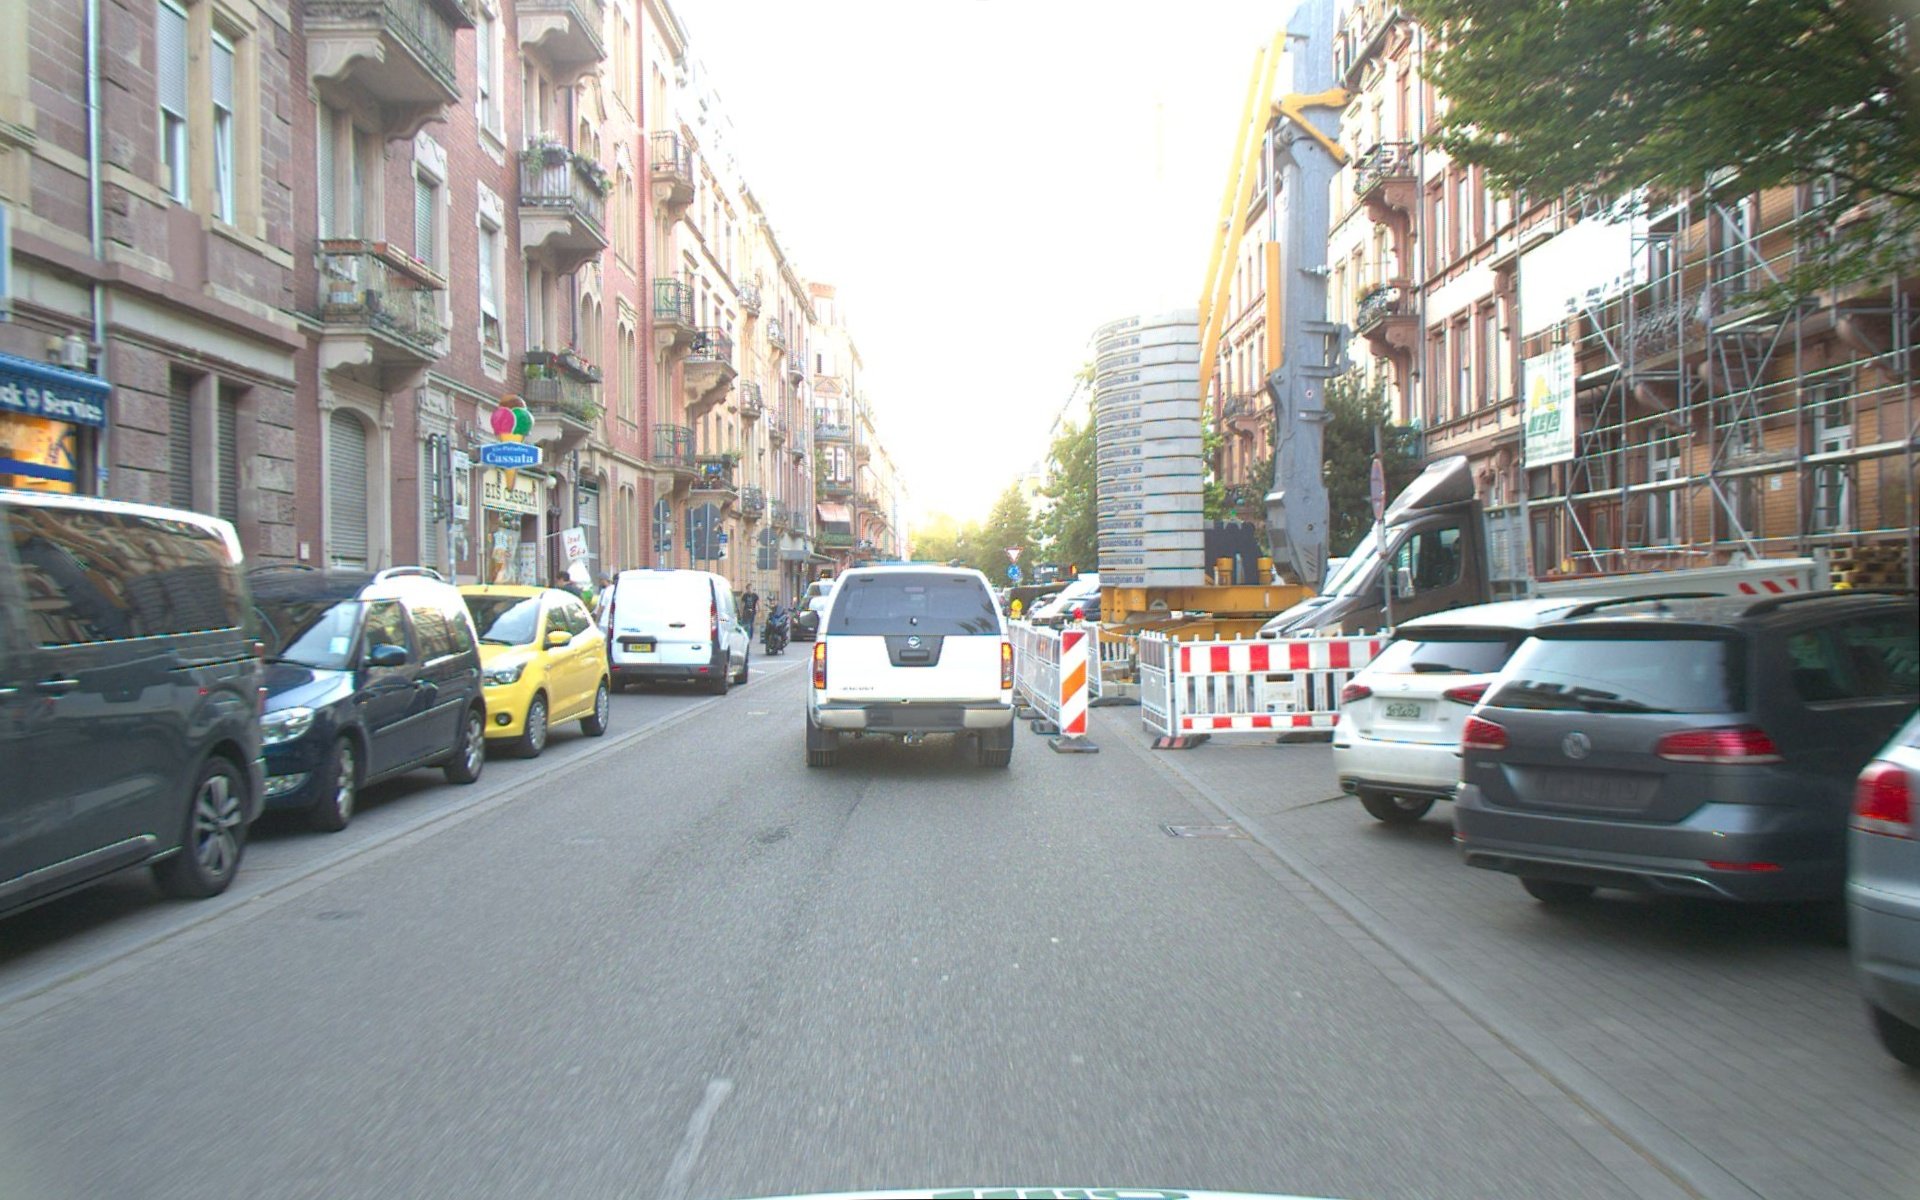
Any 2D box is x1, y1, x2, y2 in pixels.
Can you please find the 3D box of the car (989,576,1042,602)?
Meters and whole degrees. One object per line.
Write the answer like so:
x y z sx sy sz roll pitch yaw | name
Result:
4.761 -0.929 141.982 4.492 2.215 1.820 0 0 2 | car

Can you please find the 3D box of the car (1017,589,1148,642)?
3.889 0.474 52.856 4.108 1.650 1.820 0 0 2 | car

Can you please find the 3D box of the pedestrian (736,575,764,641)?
-6.612 0.242 52.108 0.772 2.049 0.934 0 0 -1 | pedestrian

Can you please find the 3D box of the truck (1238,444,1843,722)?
6.501 -0.147 19.176 6.190 3.029 2.264 0 -3 1 | truck

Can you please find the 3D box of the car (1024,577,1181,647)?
3.786 0.312 44.382 4.108 1.811 1.820 0 0 2 | car

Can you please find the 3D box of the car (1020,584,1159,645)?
3.882 0.420 50.003 4.108 1.811 1.820 0 0 2 | car

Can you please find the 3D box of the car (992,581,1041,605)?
5.291 -0.667 154.724 4.492 2.215 1.820 0 0 2 | car

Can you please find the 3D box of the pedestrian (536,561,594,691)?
-5.883 0.381 24.629 0.723 1.902 0.618 0 0 -2 | pedestrian

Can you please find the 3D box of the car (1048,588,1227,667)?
4.185 0.638 39.074 4.106 1.811 1.821 0 0 5 | car

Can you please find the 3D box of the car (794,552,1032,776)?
-0.612 0.516 15.907 1.896 1.826 4.615 0 0 -7 | car

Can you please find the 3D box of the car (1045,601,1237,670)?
3.986 0.764 36.570 4.106 1.454 1.821 0 0 5 | car

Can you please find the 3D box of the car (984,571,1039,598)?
4.280 -1.281 136.971 4.492 2.215 1.820 0 0 2 | car

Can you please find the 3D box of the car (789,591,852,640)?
-4.576 0.484 54.753 1.755 1.557 4.000 0 0 0 | car

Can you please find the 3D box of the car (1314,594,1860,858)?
4.189 0.706 10.939 3.513 1.490 1.594 0 0 -32 | car

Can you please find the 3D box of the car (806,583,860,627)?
-4.596 0.177 60.432 1.675 1.557 4.000 0 0 0 | car

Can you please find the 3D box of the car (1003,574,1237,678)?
2.904 0.449 30.080 4.106 1.811 1.821 0 0 5 | car

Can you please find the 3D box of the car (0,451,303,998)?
-4.373 0.444 6.136 1.865 1.959 4.947 0 0 0 | car

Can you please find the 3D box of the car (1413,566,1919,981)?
4.020 0.646 8.083 3.857 1.557 1.614 0 0 -40 | car

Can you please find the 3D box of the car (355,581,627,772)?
-4.422 0.650 16.150 1.468 1.621 3.857 -1 0 1 | car

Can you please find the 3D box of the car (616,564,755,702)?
-4.195 0.469 25.754 1.527 1.955 3.855 1 0 -1 | car

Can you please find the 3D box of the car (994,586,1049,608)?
4.690 -0.253 125.224 4.108 1.650 1.820 0 0 2 | car

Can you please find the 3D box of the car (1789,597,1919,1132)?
4.487 0.681 5.247 3.793 1.462 1.741 -2 1 -35 | car

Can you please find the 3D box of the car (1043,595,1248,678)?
3.762 0.725 34.136 4.108 1.650 1.820 0 0 2 | car

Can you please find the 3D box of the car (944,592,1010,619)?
1.033 0.309 99.893 3.693 1.622 1.667 0 0 35 | car

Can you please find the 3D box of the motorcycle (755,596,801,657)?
-4.478 0.629 40.836 0.819 1.440 2.549 0 0 1 | motorcycle

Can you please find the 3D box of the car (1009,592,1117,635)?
3.973 0.516 64.000 4.108 1.650 1.820 0 0 2 | car

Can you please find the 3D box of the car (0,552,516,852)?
-4.619 0.579 11.494 1.865 1.692 4.068 -1 0 1 | car

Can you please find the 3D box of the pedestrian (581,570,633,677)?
-6.377 0.418 29.923 0.604 1.902 0.740 0 0 23 | pedestrian
